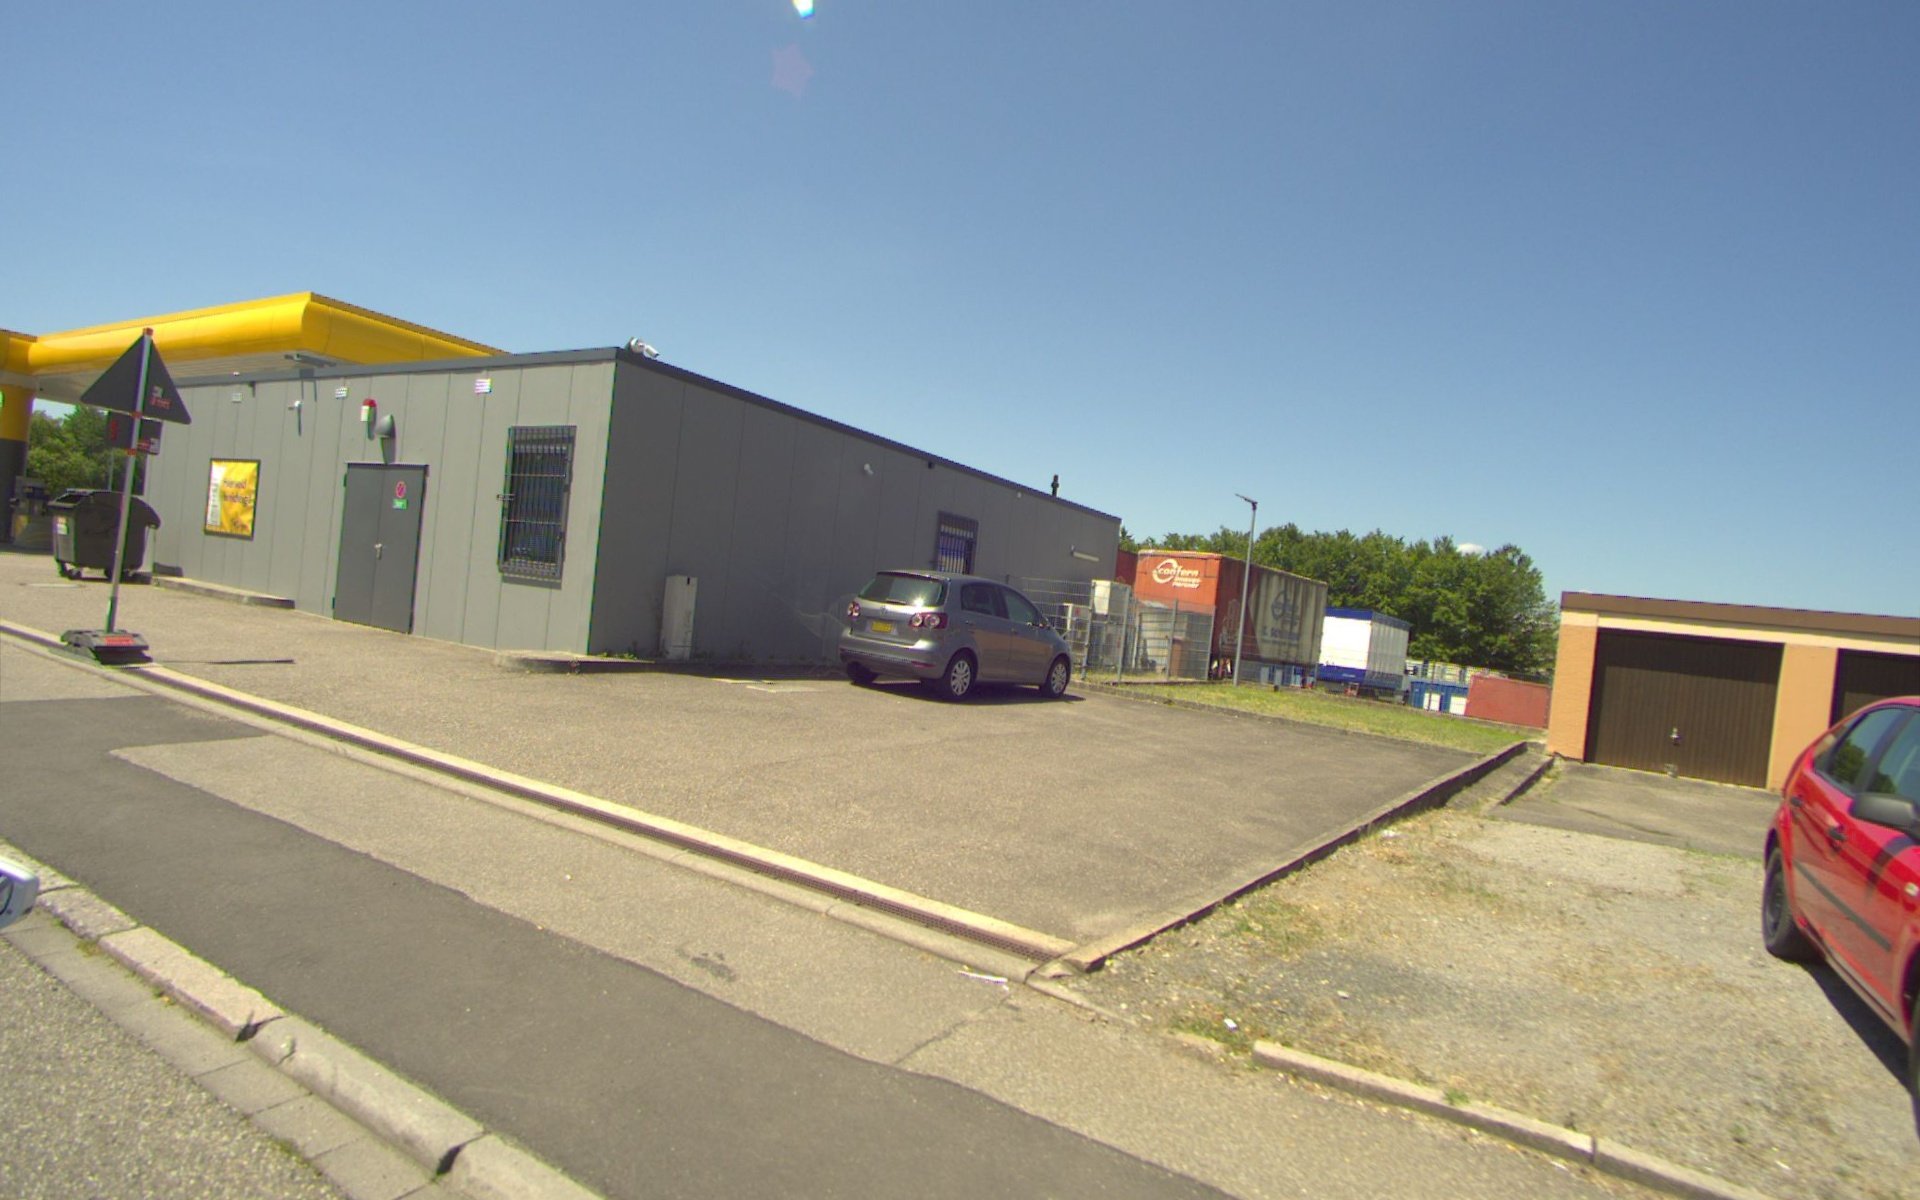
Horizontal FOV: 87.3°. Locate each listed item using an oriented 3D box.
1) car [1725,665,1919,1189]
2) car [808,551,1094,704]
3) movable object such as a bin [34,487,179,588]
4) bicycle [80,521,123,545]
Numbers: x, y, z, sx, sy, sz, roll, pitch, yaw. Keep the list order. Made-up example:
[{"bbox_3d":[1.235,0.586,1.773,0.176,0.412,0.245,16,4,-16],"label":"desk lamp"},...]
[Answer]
[{"bbox_3d":[4.506,1.149,3.782,1.925,1.554,4.229,7,1,30],"label":"car"},{"bbox_3d":[0.035,0.452,13.914,1.916,1.677,3.990,6,-1,34],"label":"car"},{"bbox_3d":[-14.270,-1.035,16.837,1.443,1.456,1.435,7,2,32],"label":"movable object such as a bin"},{"bbox_3d":[-47.749,-3.722,55.940,0.461,1.111,1.693,6,-1,37],"label":"bicycle"}]
